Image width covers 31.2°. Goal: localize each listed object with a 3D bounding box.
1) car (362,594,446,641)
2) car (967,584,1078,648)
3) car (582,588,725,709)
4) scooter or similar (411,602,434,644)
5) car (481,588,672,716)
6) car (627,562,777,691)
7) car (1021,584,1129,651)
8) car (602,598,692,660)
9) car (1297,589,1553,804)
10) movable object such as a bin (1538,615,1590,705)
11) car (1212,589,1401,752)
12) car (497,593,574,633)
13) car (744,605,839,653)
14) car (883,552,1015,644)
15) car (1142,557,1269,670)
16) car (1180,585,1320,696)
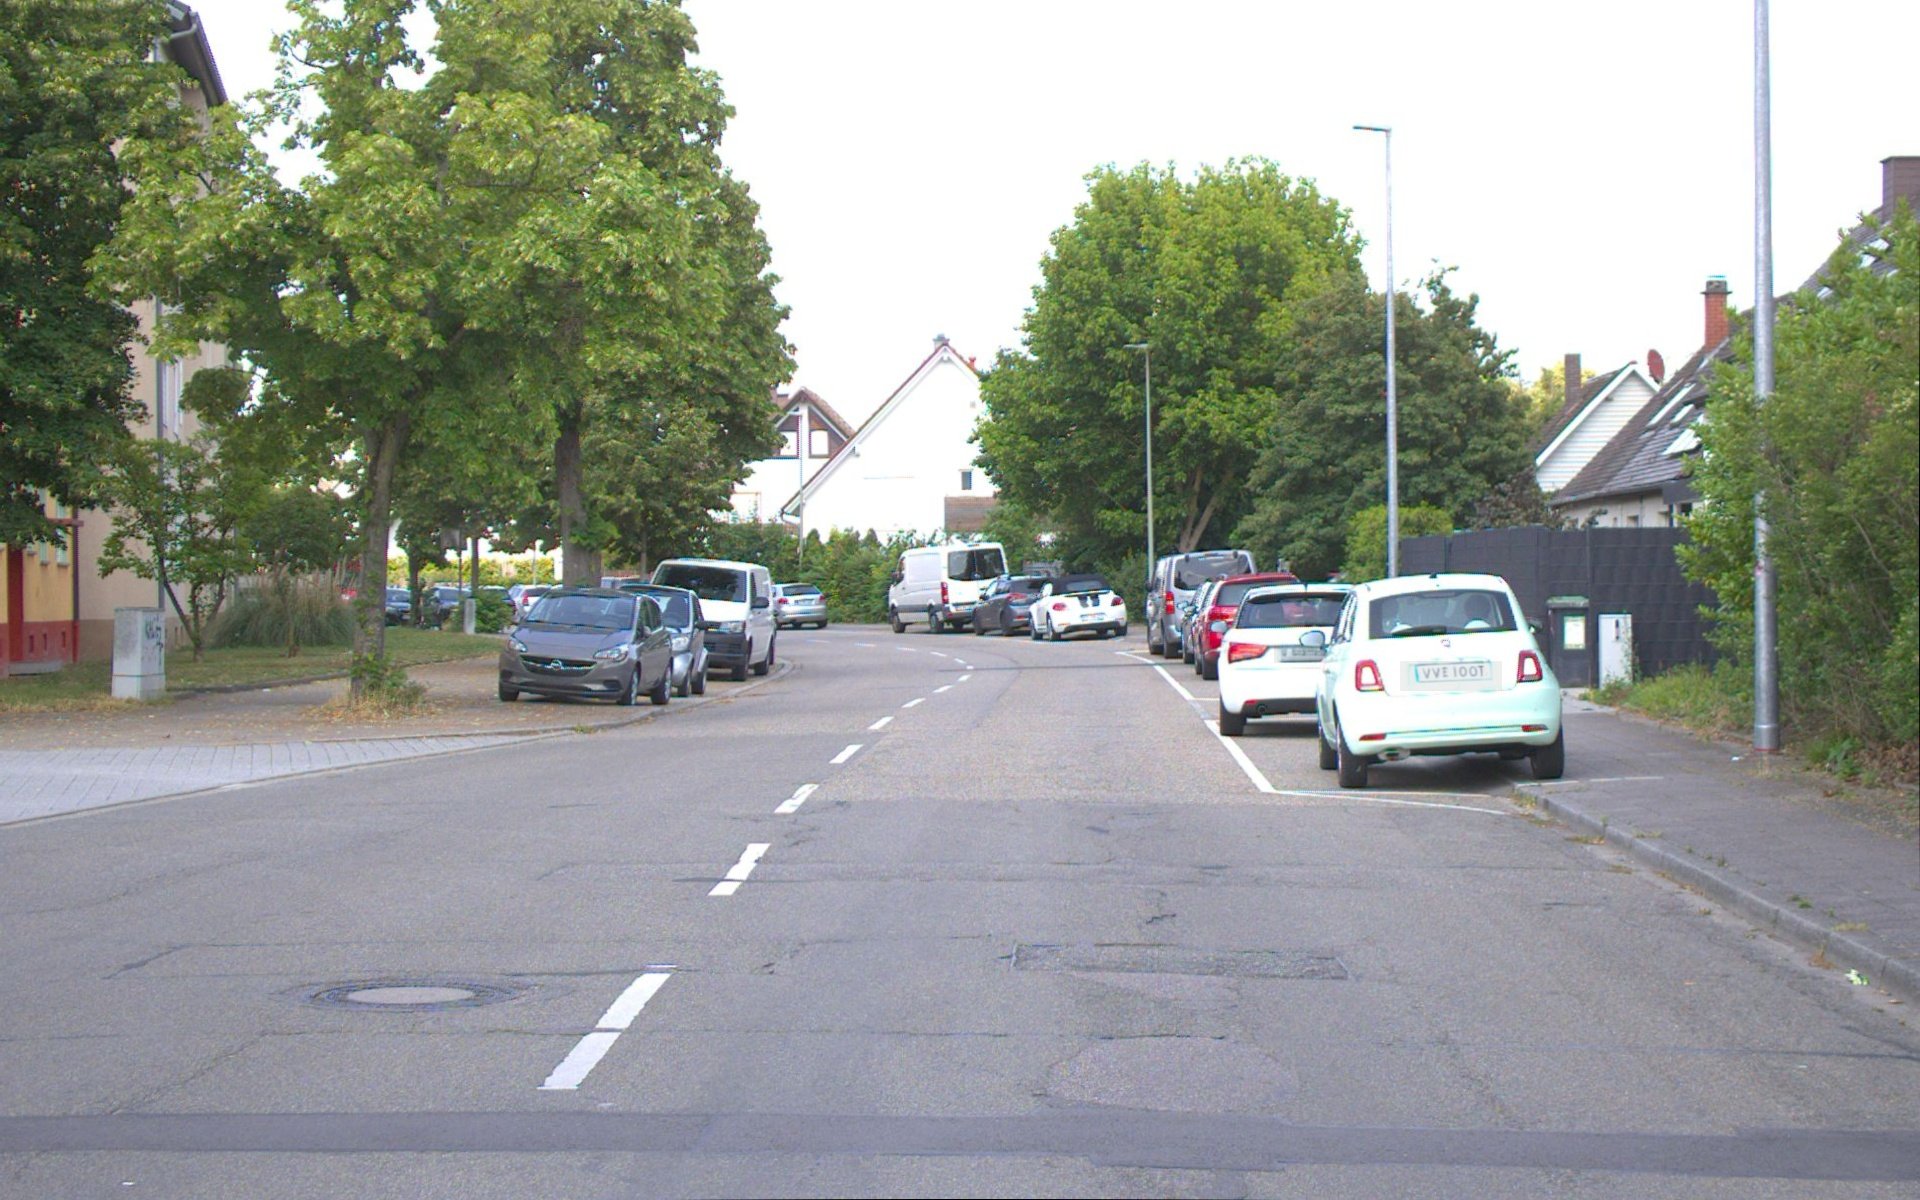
[{"bbox_3d":[-18.830,0.595,116.296,1.786,1.453,4.436,4,-2,-22],"label":"car"},{"bbox_3d":[1.562,0.379,87.375,1.717,1.580,4.125,0,0,-15],"label":"car"},{"bbox_3d":[-4.424,0.678,50.043,1.517,1.544,3.755,5,1,1],"label":"car"},{"bbox_3d":[-15.195,0.658,97.151,0.419,1.161,1.141,1,0,-19],"label":"scooter or similar"},{"bbox_3d":[-4.838,0.676,43.878,1.684,1.481,3.983,3,-1,4],"label":"car"},{"bbox_3d":[-4.298,0.403,58.055,1.879,2.002,5.322,2,1,2],"label":"car"},{"bbox_3d":[2.653,0.386,80.171,1.739,1.507,4.459,0,0,-9],"label":"car"},{"bbox_3d":[-7.796,0.710,85.295,1.836,1.434,4.092,2,0,-10],"label":"car"},{"bbox_3d":[3.457,0.675,26.085,1.581,1.515,3.755,0,0,2],"label":"car"},{"bbox_3d":[7.068,0.699,40.234,0.516,1.035,0.630,0,0,3],"label":"movable object such as a bin"},{"bbox_3d":[3.351,0.640,33.347,1.721,1.481,3.748,0,0,5],"label":"car"},{"bbox_3d":[-16.525,0.496,133.743,1.794,1.518,3.974,0,0,-25],"label":"car"},{"bbox_3d":[-5.304,0.905,107.770,1.737,1.452,4.366,0,0,-21],"label":"car"},{"bbox_3d":[-0.346,-0.056,93.814,2.117,2.433,5.896,0,0,-15],"label":"car"},{"bbox_3d":[4.502,0.241,63.789,1.842,1.938,4.876,-3,0,-1],"label":"car"},{"bbox_3d":[4.247,0.565,50.898,1.850,1.574,4.732,0,0,2],"label":"car"}]
